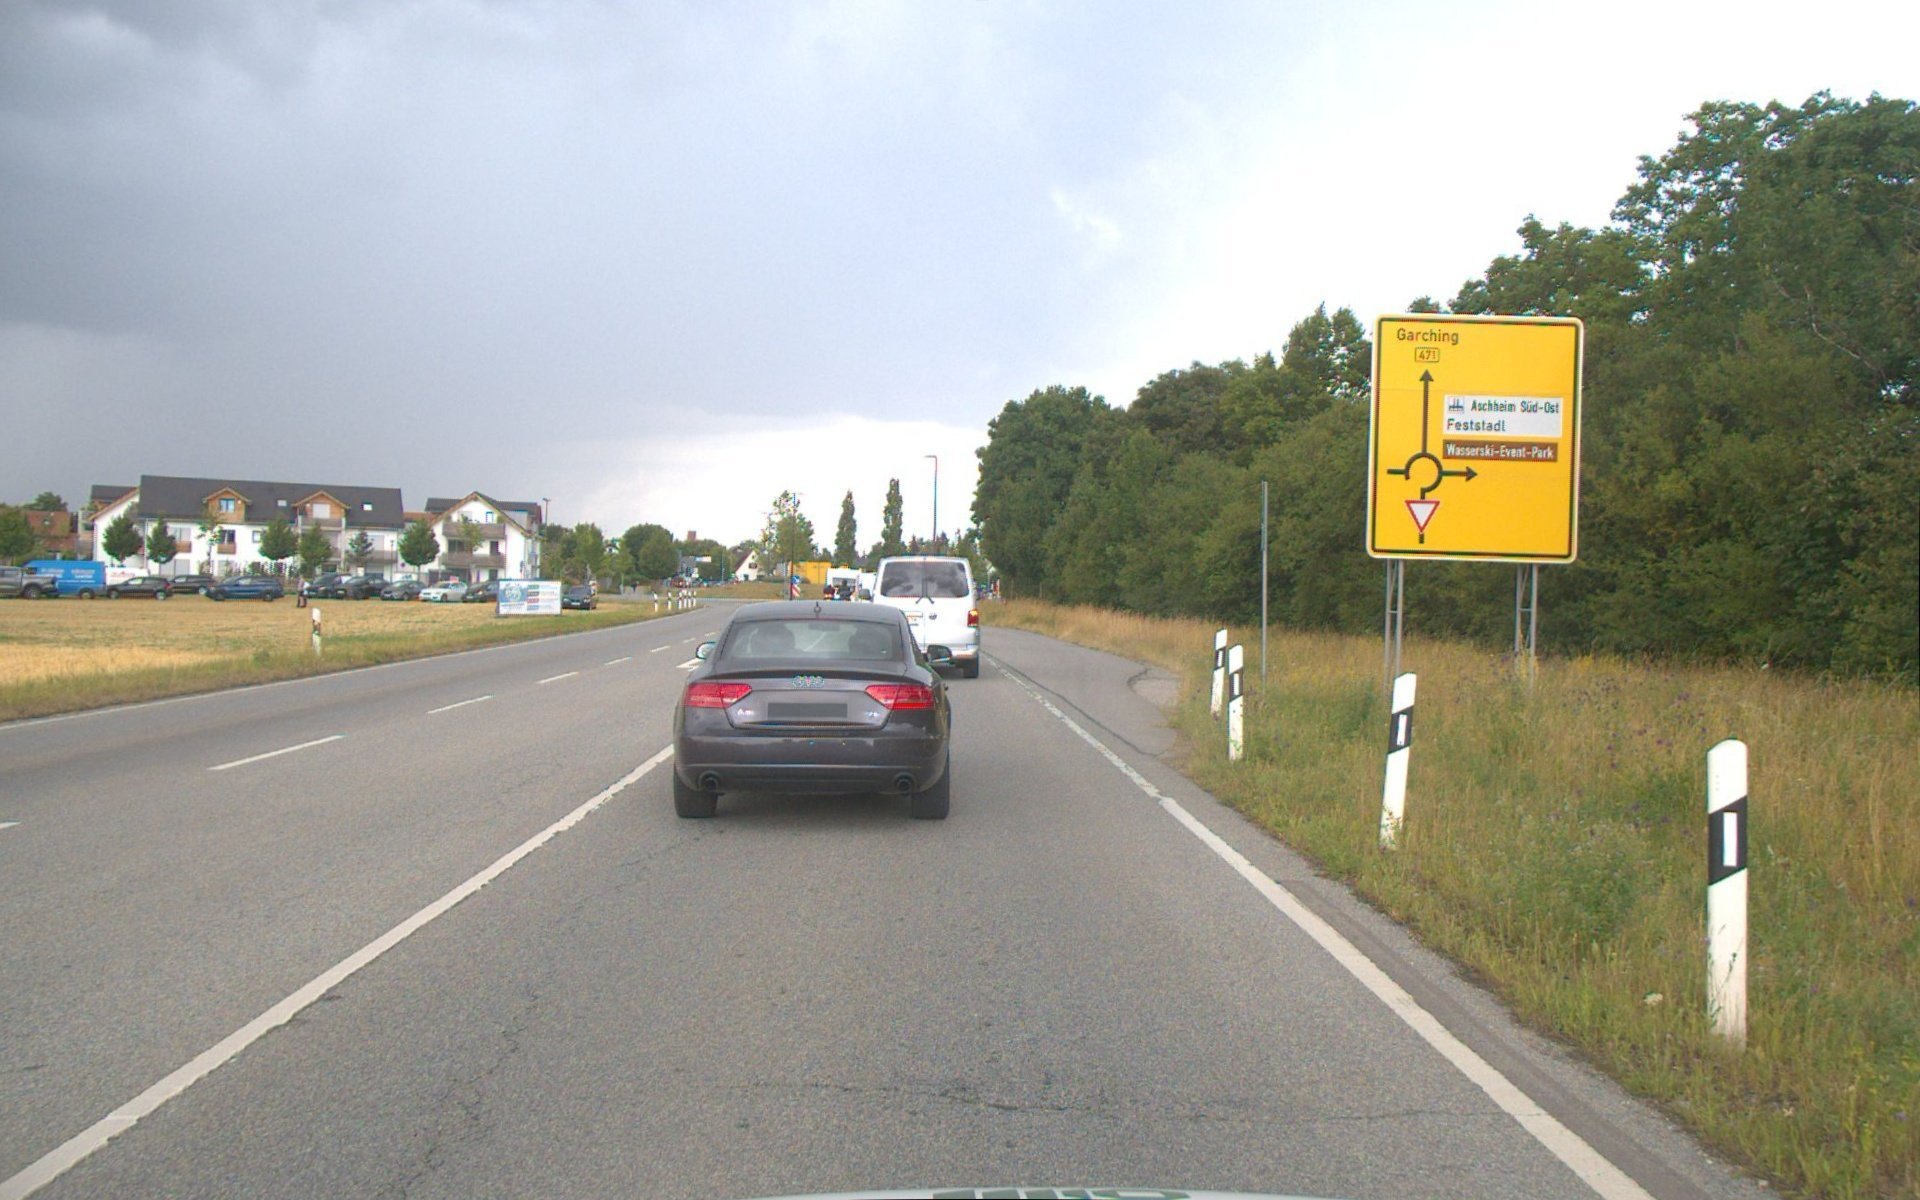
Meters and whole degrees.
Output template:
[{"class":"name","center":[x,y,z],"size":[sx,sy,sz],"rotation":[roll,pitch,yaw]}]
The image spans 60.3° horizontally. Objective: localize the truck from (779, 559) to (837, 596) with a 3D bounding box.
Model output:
[{"class":"truck","center":[-15.797,-2.401,171.112],"size":[3.524,3.640,9.896],"rotation":[2,1,-21]}]

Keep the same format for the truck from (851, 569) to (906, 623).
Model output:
[{"class":"truck","center":[-3.299,-0.167,67.510],"size":[2.150,2.049,5.082],"rotation":[1,0,-2]}]

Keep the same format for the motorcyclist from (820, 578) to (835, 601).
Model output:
[{"class":"motorcyclist","center":[-7.871,-0.627,98.335],"size":[0.771,1.380,0.852],"rotation":[1,0,-9]}]

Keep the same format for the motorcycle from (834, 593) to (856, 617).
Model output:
[{"class":"motorcycle","center":[-5.380,0.226,77.630],"size":[0.901,1.113,2.188],"rotation":[1,0,-1]}]

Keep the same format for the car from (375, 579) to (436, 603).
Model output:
[{"class":"car","center":[-38.091,-0.607,113.682],"size":[1.951,1.562,4.214],"rotation":[1,0,16]}]

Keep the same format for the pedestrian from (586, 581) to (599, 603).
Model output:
[{"class":"pedestrian","center":[-27.115,-0.624,122.117],"size":[0.686,1.613,0.658],"rotation":[1,0,14]}]

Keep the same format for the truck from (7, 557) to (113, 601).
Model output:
[{"class":"truck","center":[-53.575,-1.260,98.601],"size":[5.380,2.488,2.374],"rotation":[1,0,-26]}]

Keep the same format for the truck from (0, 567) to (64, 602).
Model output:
[{"class":"truck","center":[-54.058,-0.911,94.370],"size":[5.169,1.954,2.092],"rotation":[1,0,-30]}]

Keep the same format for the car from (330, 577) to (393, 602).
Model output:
[{"class":"car","center":[-41.204,-0.744,113.979],"size":[1.951,1.657,4.214],"rotation":[1,0,16]}]

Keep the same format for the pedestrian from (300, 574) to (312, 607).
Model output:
[{"class":"pedestrian","center":[-37.313,-0.541,94.337],"size":[0.539,1.817,0.675],"rotation":[1,0,-14]}]

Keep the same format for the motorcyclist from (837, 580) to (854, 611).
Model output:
[{"class":"motorcyclist","center":[-5.384,-0.215,77.658],"size":[0.756,1.407,0.820],"rotation":[1,0,-2]}]

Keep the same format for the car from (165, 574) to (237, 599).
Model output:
[{"class":"car","center":[-53.777,-0.955,117.292],"size":[4.563,1.727,1.986],"rotation":[1,0,-23]}]

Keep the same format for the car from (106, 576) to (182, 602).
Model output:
[{"class":"car","center":[-50.978,-0.688,103.423],"size":[4.099,1.545,1.986],"rotation":[1,0,-23]}]

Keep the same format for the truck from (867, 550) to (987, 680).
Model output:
[{"class":"truck","center":[-0.618,0.213,28.553],"size":[1.866,2.033,4.626],"rotation":[1,0,-2]}]

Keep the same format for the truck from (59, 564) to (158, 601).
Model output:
[{"class":"truck","center":[-54.549,-1.115,106.077],"size":[5.495,2.235,2.586],"rotation":[1,0,-26]}]

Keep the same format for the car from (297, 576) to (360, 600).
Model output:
[{"class":"car","center":[-44.175,-0.848,115.792],"size":[1.951,1.657,4.214],"rotation":[1,0,16]}]

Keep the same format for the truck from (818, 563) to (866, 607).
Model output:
[{"class":"truck","center":[-7.845,-0.987,109.688],"size":[2.578,2.785,5.854],"rotation":[2,0,-9]}]

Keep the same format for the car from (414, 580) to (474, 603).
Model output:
[{"class":"car","center":[-35.365,-0.579,113.408],"size":[1.951,1.471,4.214],"rotation":[1,0,16]}]

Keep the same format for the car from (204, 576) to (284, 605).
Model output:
[{"class":"car","center":[-45.772,-0.609,105.872],"size":[4.652,1.727,1.986],"rotation":[1,0,-23]}]

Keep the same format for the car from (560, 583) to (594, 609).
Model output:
[{"class":"car","center":[-23.424,-0.267,101.256],"size":[1.959,1.467,3.987],"rotation":[1,1,-13]}]

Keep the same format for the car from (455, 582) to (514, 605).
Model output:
[{"class":"car","center":[-32.511,-0.440,113.152],"size":[1.951,1.471,4.214],"rotation":[1,0,16]}]

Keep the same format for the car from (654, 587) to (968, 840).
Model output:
[{"class":"car","center":[-0.985,0.660,11.848],"size":[1.837,1.479,4.174],"rotation":[0,0,-3]}]

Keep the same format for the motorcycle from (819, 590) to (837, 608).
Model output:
[{"class":"motorcycle","center":[-7.880,-0.041,98.405],"size":[0.926,1.037,2.280],"rotation":[1,0,-8]}]
